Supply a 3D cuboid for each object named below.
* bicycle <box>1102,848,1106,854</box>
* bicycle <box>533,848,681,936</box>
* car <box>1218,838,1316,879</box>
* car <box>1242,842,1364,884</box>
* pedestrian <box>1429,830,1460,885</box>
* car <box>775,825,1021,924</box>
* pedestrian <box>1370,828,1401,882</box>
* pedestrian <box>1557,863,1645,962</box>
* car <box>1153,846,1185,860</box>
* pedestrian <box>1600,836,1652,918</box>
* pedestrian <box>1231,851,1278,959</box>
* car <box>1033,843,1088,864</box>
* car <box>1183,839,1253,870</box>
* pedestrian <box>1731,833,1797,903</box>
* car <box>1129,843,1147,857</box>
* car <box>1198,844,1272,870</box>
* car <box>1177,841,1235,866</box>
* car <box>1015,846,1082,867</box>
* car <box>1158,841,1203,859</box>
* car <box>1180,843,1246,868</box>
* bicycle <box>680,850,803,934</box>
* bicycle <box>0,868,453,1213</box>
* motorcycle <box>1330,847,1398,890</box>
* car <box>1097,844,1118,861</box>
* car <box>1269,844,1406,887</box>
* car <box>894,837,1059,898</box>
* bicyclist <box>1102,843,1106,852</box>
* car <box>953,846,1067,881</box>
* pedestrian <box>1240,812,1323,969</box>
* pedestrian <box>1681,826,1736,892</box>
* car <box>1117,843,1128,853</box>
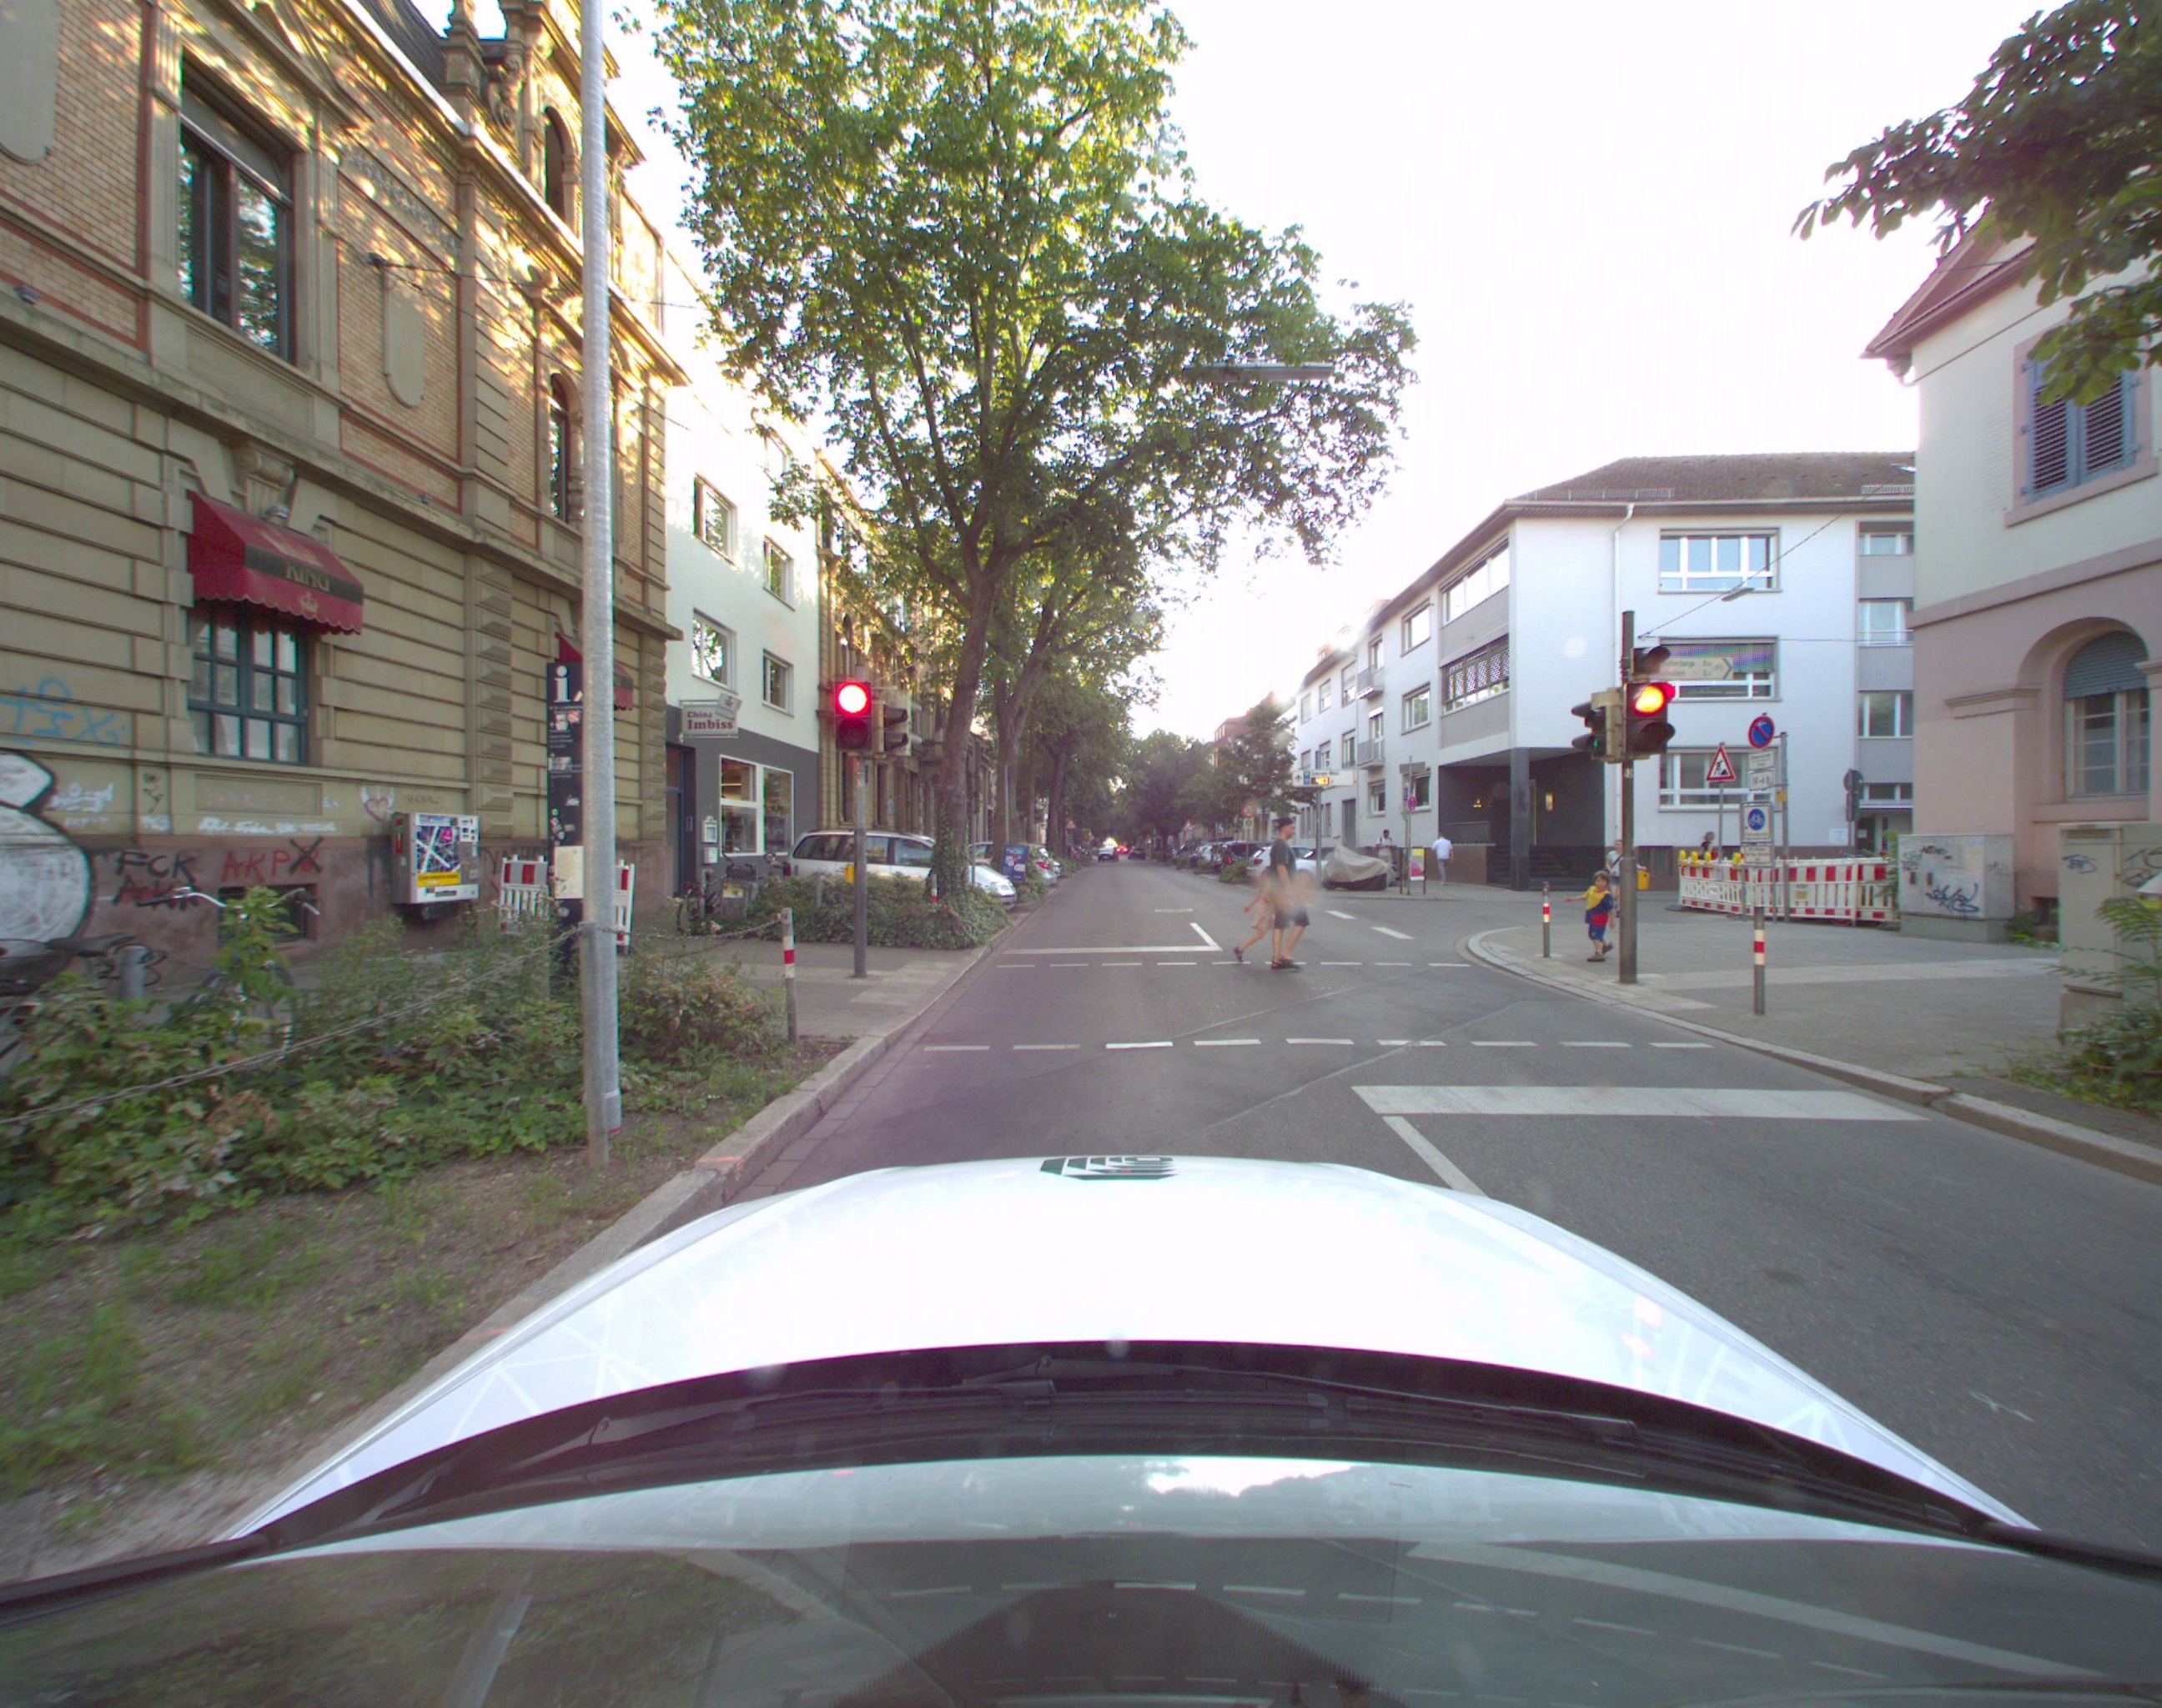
[{"bbox_3d":[3.576,-0.526,126.716,0.570,0.949,1.742,0,0,-4],"label":"bicycle"},{"bbox_3d":[-7.193,0.518,12.549,0.634,1.201,2.566,-1,1,4],"label":"bicycle"},{"bbox_3d":[8.171,0.189,36.013,3.999,1.690,1.708,-1,0,1],"label":"car"},{"bbox_3d":[7.999,0.313,29.608,3.999,1.442,1.708,-1,0,1],"label":"car"},{"bbox_3d":[11.700,0.096,26.229,0.700,1.751,0.701,0,1,6],"label":"pedestrian"},{"bbox_3d":[-3.560,0.370,16.476,4.534,1.834,1.832,-1,0,-1],"label":"car"},{"bbox_3d":[10.557,0.040,28.237,0.764,1.841,0.944,0,1,2],"label":"pedestrian"},{"bbox_3d":[6.420,0.696,10.065,0.827,1.121,0.571,1,2,42],"label":"pedestrian"},{"bbox_3d":[11.597,-0.163,107.390,3.999,1.830,1.708,0,0,1],"label":"car"},{"bbox_3d":[10.773,0.431,16.126,0.692,1.557,0.986,0,1,24],"label":"pedestrian"},{"bbox_3d":[2.217,0.637,10.445,0.536,1.335,0.507,0,1,7],"label":"pedestrian"},{"bbox_3d":[-1.724,-0.047,69.130,4.530,1.691,1.834,0,0,2],"label":"car"},{"bbox_3d":[8.309,0.039,49.597,3.999,1.815,1.708,-1,0,1],"label":"car"},{"bbox_3d":[15.170,0.301,18.099,0.799,1.501,0.773,-1,0,-12],"label":"pedestrian"},{"bbox_3d":[6.264,-0.452,89.930,1.819,1.561,4.029,1,1,1],"label":"car"},{"bbox_3d":[8.870,0.146,47.230,3.999,1.409,1.708,-1,0,1],"label":"car"},{"bbox_3d":[9.123,-0.063,59.725,3.999,1.830,1.708,0,0,1],"label":"car"},{"bbox_3d":[-2.215,0.177,56.829,4.530,1.410,1.834,-1,0,2],"label":"car"},{"bbox_3d":[9.110,-0.378,74.729,3.999,1.601,1.708,0,0,1],"label":"car"},{"bbox_3d":[8.466,0.085,52.453,3.999,1.530,1.708,0,0,1],"label":"car"},{"bbox_3d":[-5.342,0.536,13.042,0.731,1.186,2.636,1,1,3],"label":"bicycle"},{"bbox_3d":[-4.068,0.684,3.842,0.508,1.153,2.102,1,1,2],"label":"bicycle"},{"bbox_3d":[8.231,0.422,23.755,1.788,1.199,0.615,-1,0,11],"label":"motorcycle"},{"bbox_3d":[2.626,-0.143,80.430,1.895,1.577,3.996,1,0,4],"label":"car"},{"bbox_3d":[8.413,0.365,26.953,3.998,1.342,1.708,-1,0,2],"label":"car"},{"bbox_3d":[-2.998,0.368,24.018,4.530,1.688,1.834,-1,0,2],"label":"car"},{"bbox_3d":[3.560,-1.000,126.501,0.570,1.470,0.642,0,0,-4],"label":"bicyclist"},{"bbox_3d":[-2.940,0.387,34.314,4.530,1.372,1.834,-1,0,2],"label":"car"},{"bbox_3d":[2.399,0.415,9.823,0.883,1.815,0.795,0,1,6],"label":"pedestrian"},{"bbox_3d":[16.878,0.122,21.929,0.765,1.751,0.934,0,1,2],"label":"pedestrian"},{"bbox_3d":[7.335,-1.099,144.215,1.917,1.660,4.002,0,1,2],"label":"car"}]
